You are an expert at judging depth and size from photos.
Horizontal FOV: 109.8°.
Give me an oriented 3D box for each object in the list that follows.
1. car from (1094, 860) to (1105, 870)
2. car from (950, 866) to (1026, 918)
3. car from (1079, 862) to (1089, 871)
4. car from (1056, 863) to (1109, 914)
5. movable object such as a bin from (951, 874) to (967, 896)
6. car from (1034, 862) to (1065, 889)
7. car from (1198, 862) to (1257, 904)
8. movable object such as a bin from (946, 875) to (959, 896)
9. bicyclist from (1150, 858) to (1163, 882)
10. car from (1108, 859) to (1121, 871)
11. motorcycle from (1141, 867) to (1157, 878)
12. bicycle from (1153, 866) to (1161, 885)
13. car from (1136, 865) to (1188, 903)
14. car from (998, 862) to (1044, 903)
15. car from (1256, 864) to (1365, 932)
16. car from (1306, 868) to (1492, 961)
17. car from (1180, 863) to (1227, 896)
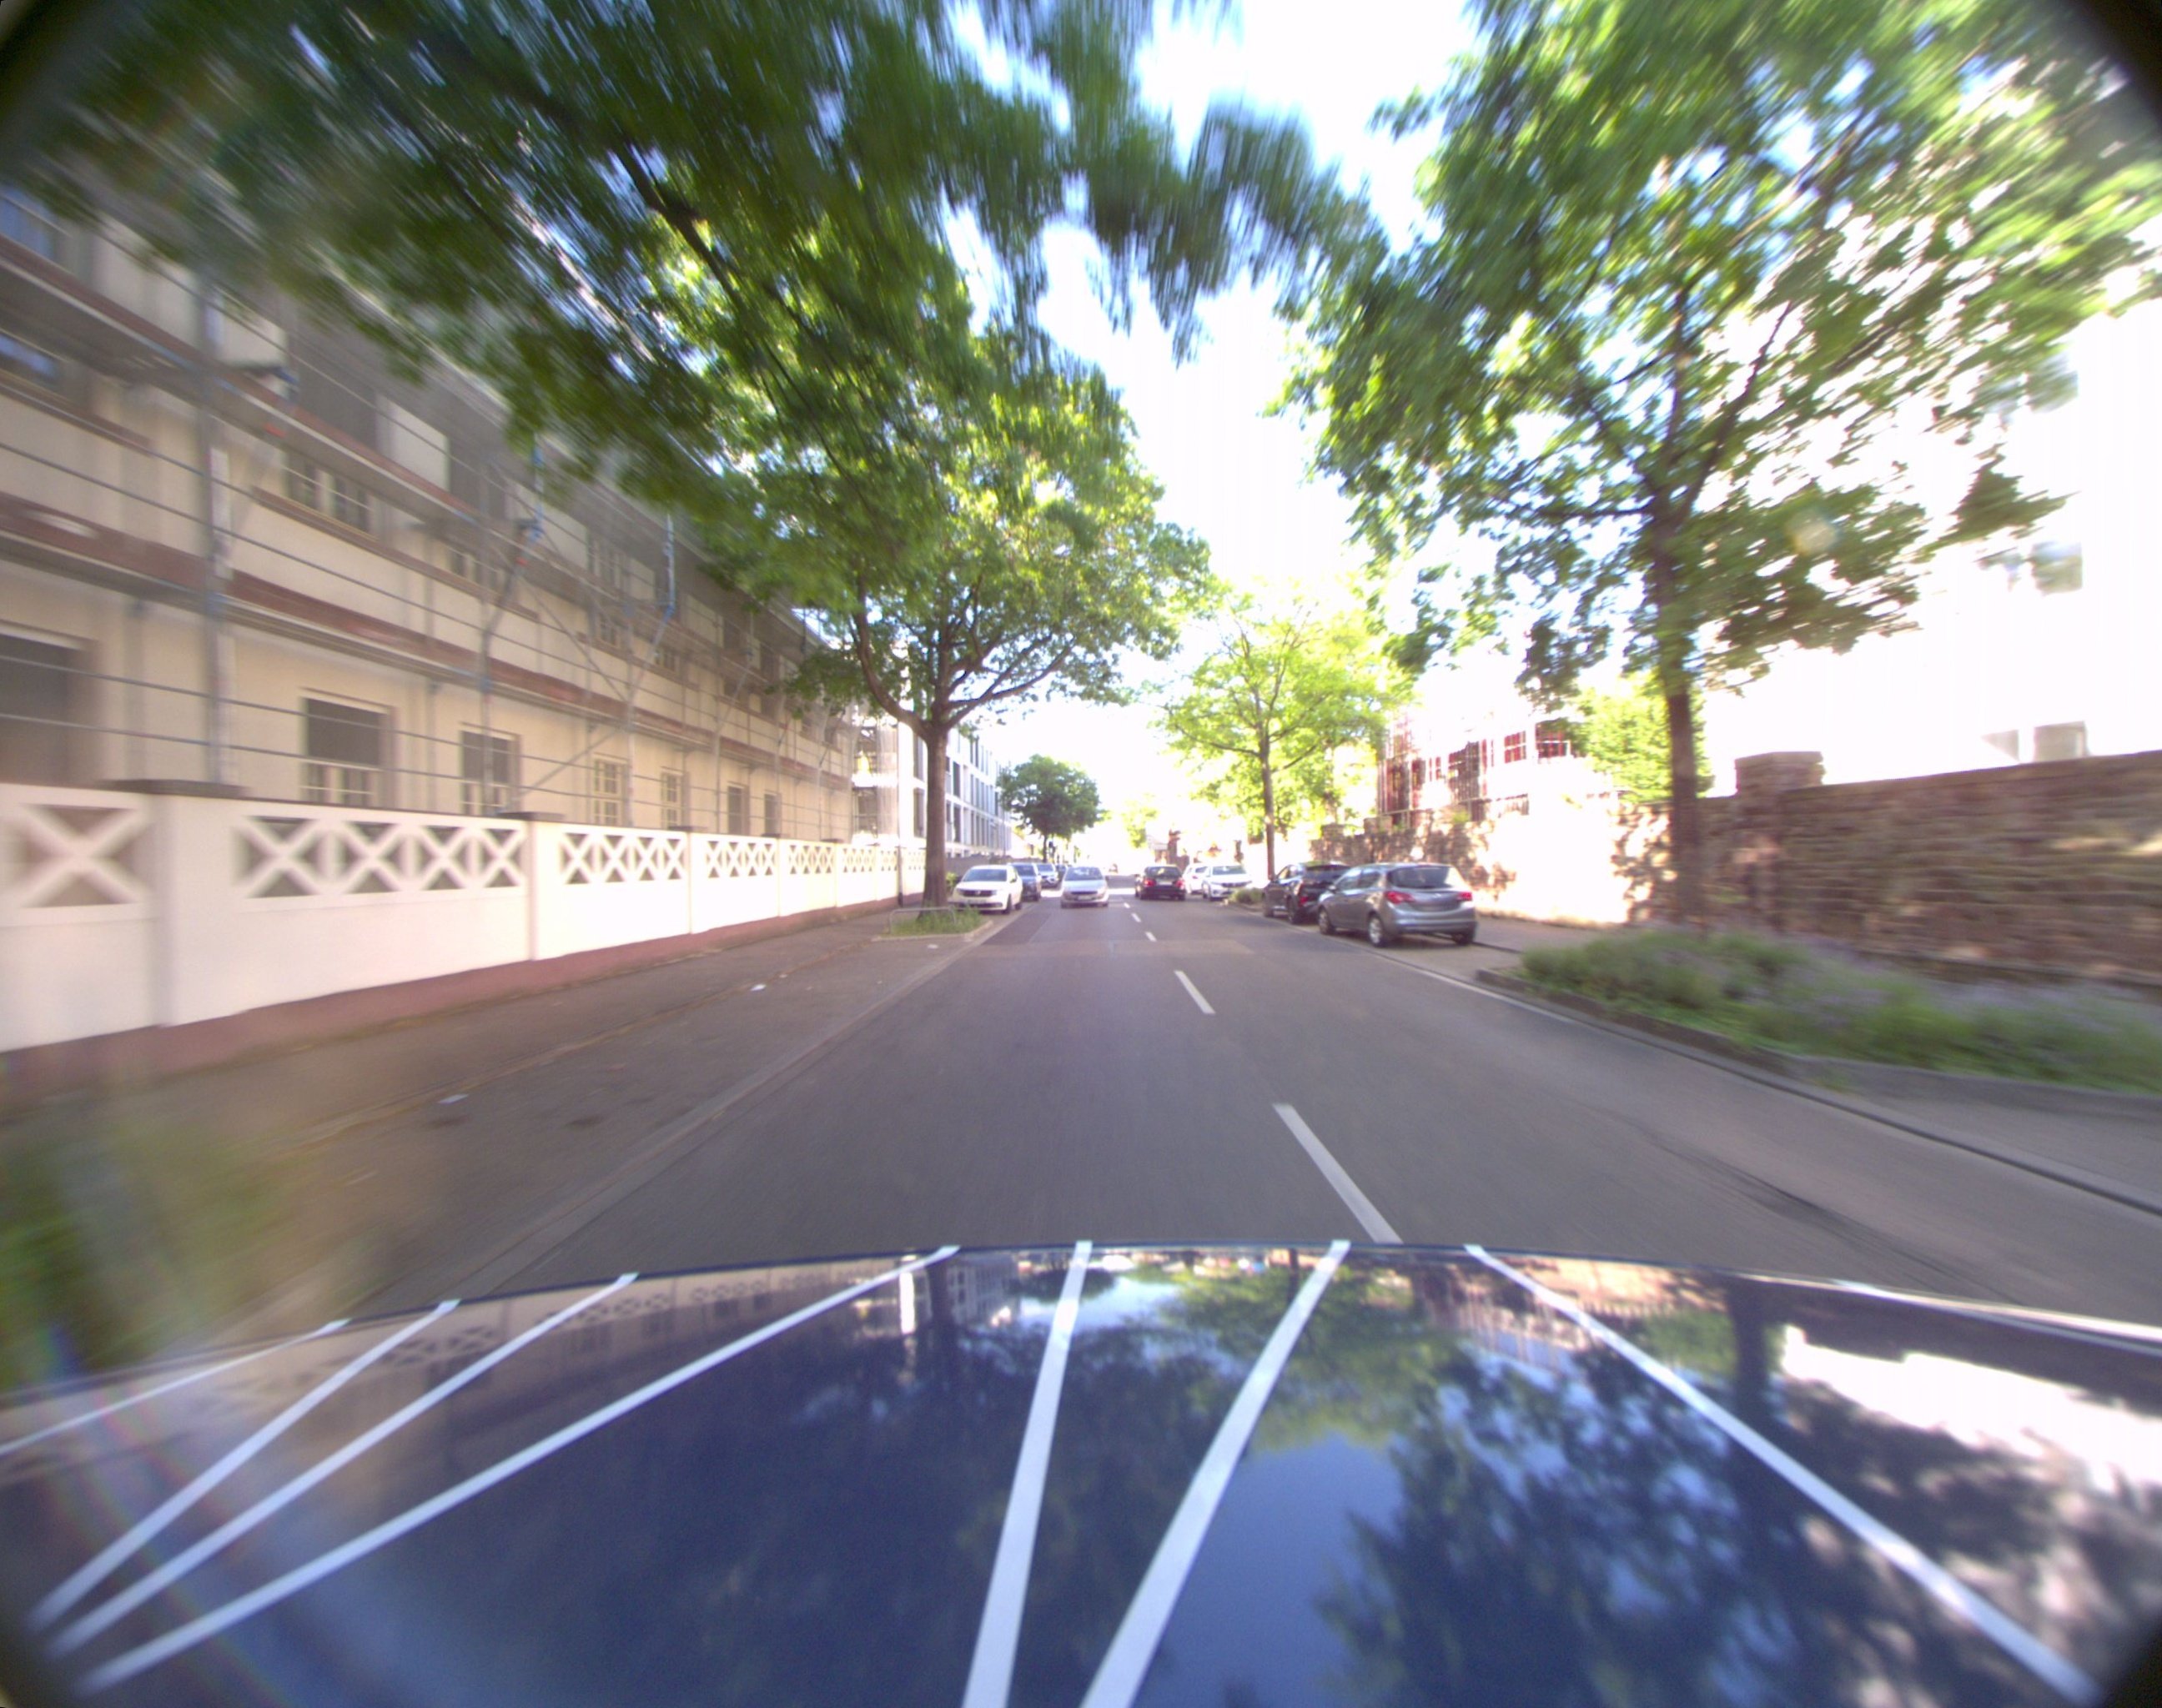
[{"bbox_3d":[3.405,1.992,137.921,1.834,1.732,4.000,-3,0,1],"label":"car"},{"bbox_3d":[-2.919,1.164,24.637,1.727,1.501,3.993,0,-1,4],"label":"car"},{"bbox_3d":[0.505,2.248,138.089,1.757,1.459,3.486,-3,0,0],"label":"car"},{"bbox_3d":[0.123,1.210,27.867,1.747,1.613,4.107,-3,0,2],"label":"car"},{"bbox_3d":[-5.870,1.473,36.630,0.599,1.021,0.564,-3,0,5],"label":"movable object such as a bin"},{"bbox_3d":[-2.000,1.336,49.170,1.797,1.606,4.126,-2,0,0],"label":"car"},{"bbox_3d":[5.903,1.142,31.040,1.680,1.502,3.850,-4,0,2],"label":"car"},{"bbox_3d":[-6.116,1.494,36.079,0.435,0.958,0.511,-3,0,5],"label":"movable object such as a bin"},{"bbox_3d":[4.774,1.012,48.365,0.722,1.513,1.005,-3,0,4],"label":"bicyclist"},{"bbox_3d":[4.706,1.575,106.813,1.648,1.601,4.021,1,0,-1],"label":"car"},{"bbox_3d":[6.977,1.884,77.613,0.599,1.026,2.132,-1,-1,35],"label":"motorcycle"},{"bbox_3d":[4.809,1.343,48.333,0.358,1.114,1.866,-3,0,2],"label":"bicycle"},{"bbox_3d":[3.310,1.198,31.805,1.826,1.427,3.970,1,-1,1],"label":"car"},{"bbox_3d":[-2.584,1.194,33.371,1.716,1.628,4.302,-1,0,-1],"label":"car"},{"bbox_3d":[5.763,1.046,19.565,1.577,1.506,4.045,-2,0,0],"label":"car"},{"bbox_3d":[5.810,1.027,14.419,1.691,1.413,3.838,-3,0,-3],"label":"car"},{"bbox_3d":[5.980,1.224,37.446,1.578,1.394,3.751,-4,0,0],"label":"car"}]
